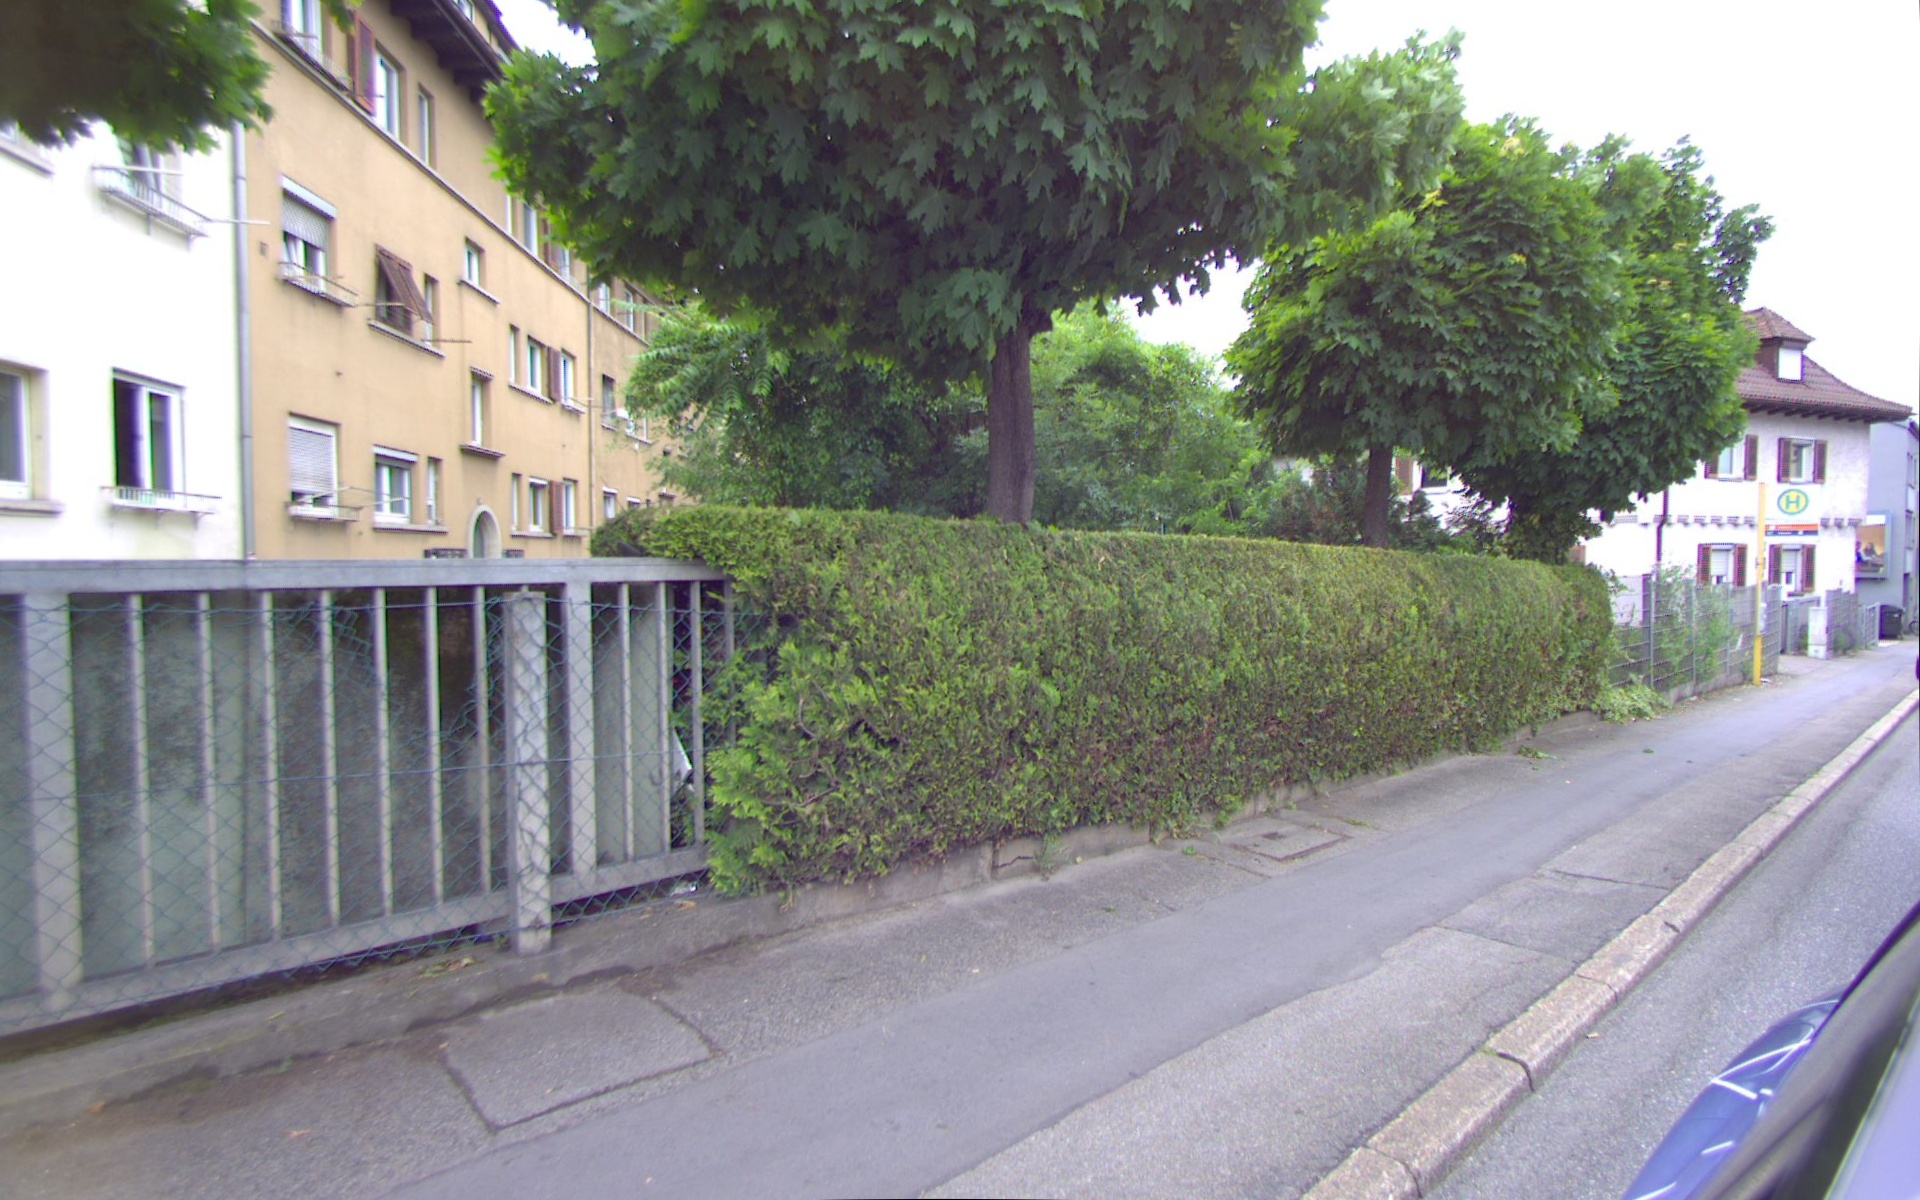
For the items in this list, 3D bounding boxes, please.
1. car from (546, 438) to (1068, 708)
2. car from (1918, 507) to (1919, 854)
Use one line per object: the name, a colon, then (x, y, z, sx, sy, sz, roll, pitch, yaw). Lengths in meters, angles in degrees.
car: (-0.973, -0.169, 7.317, 3.381, 1.478, 1.698, -1, 0, -43)
car: (5.802, 0.547, 4.453, 4.629, 1.804, 1.861, -1, 0, -41)
